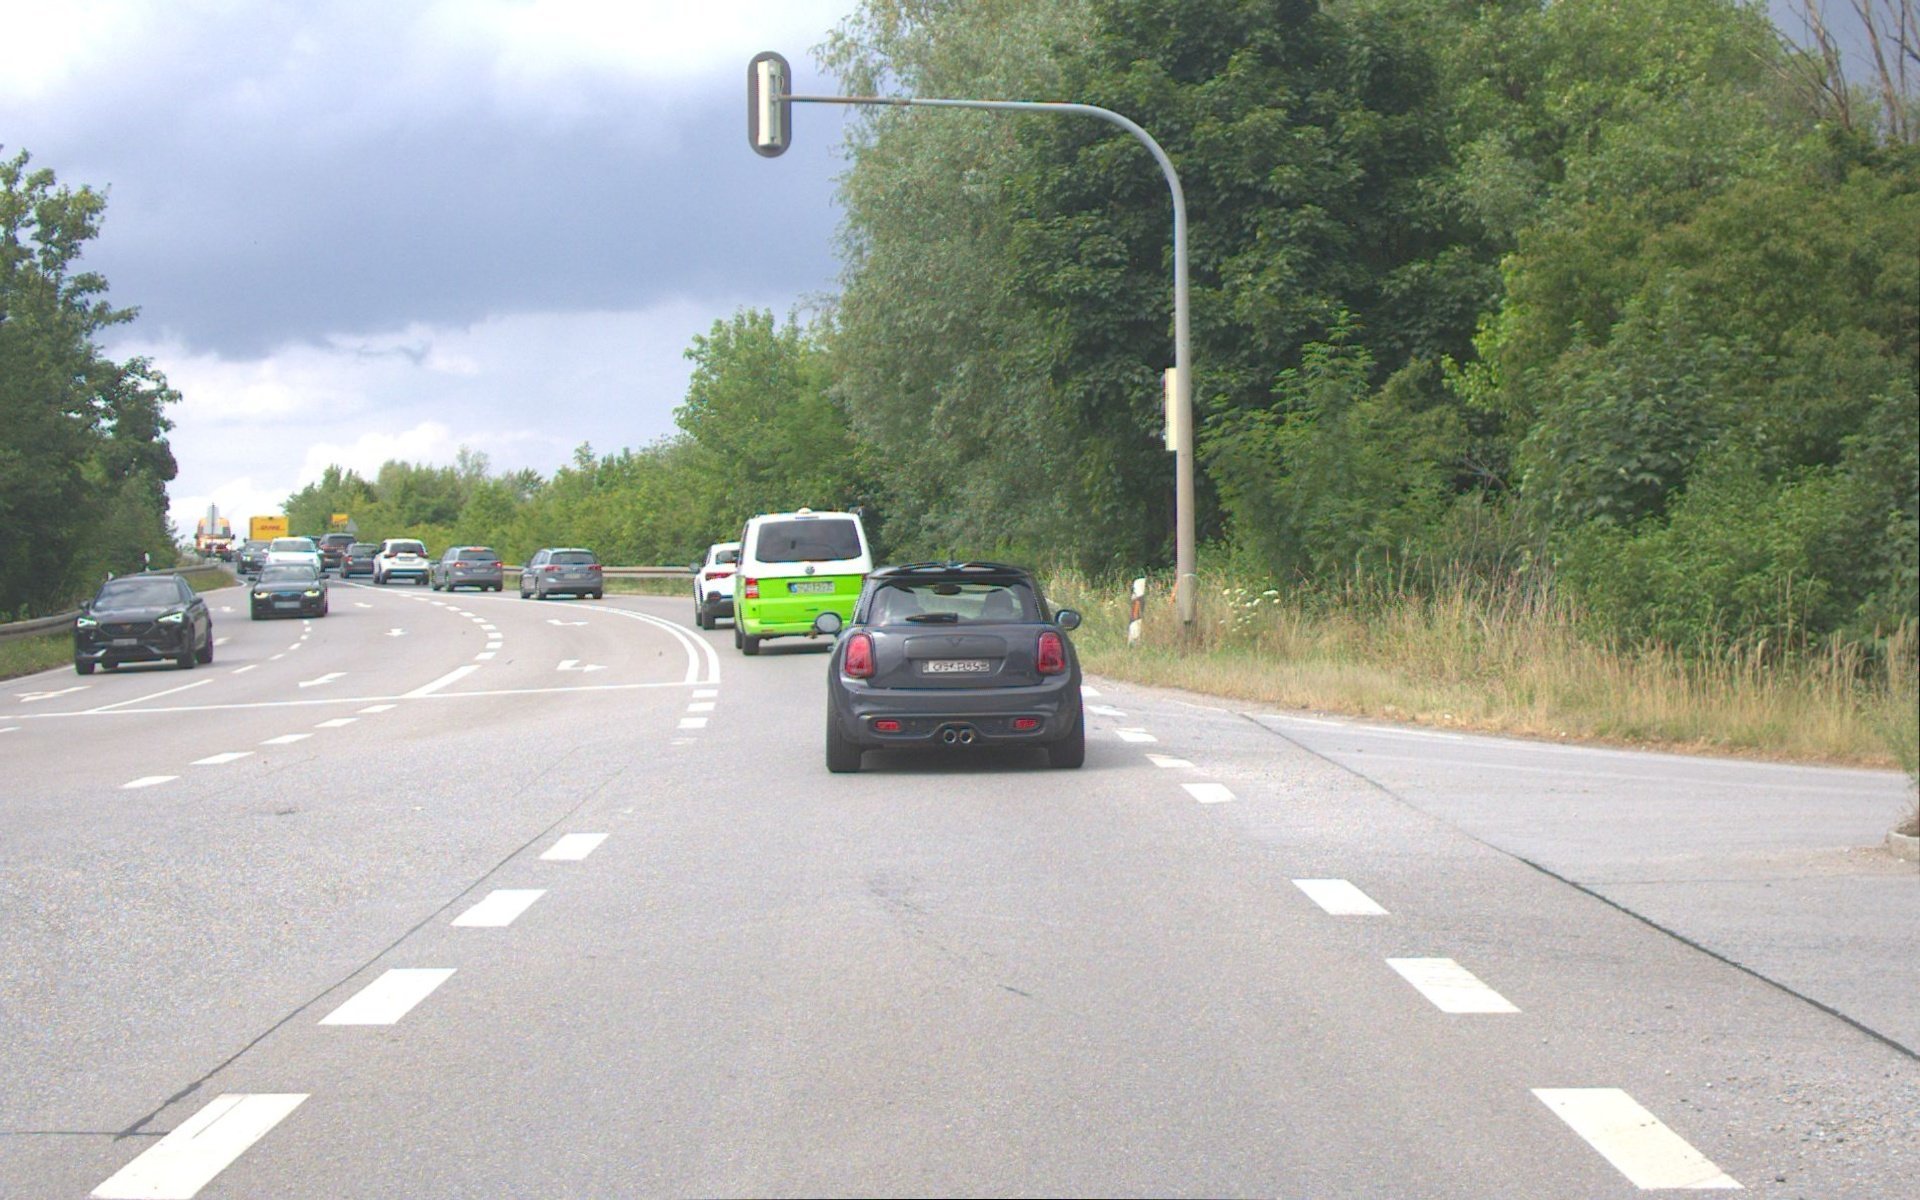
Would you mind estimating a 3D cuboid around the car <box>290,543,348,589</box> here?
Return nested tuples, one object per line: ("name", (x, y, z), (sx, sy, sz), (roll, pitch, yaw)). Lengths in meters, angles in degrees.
("car", (-23.046, -1.241, 123.672), (1.993, 1.607, 4.001), (-1, 1, -10))

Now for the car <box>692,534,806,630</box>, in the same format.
("car", (-3.902, -0.333, 63.367), (1.993, 1.678, 4.000), (-1, 0, -4))

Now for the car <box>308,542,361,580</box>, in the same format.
("car", (-29.184, -1.815, 160.356), (1.993, 1.690, 4.487), (0, 0, -16))

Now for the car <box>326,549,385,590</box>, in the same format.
("car", (-25.467, -1.260, 144.799), (1.993, 1.690, 4.487), (0, 0, -16))

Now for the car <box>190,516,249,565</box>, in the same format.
("car", (-26.587, -2.147, 123.341), (1.993, 1.684, 4.001), (-1, 1, -13))

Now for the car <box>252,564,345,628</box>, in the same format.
("car", (-16.720, -0.130, 87.025), (1.737, 1.401, 4.251), (-5, 1, -4))

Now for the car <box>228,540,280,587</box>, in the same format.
("car", (-31.062, -1.600, 151.140), (1.993, 2.007, 4.001), (1, 0, -15))

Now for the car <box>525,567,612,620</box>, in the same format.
("car", (-11.015, -0.179, 96.526), (1.993, 1.471, 4.487), (0, 0, -12))

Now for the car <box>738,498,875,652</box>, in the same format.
("car", (-2.167, -0.394, 48.461), (1.845, 1.980, 3.842), (0, 3, -3))

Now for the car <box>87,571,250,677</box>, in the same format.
("car", (-12.805, 0.360, 55.826), (1.762, 1.577, 4.203), (-3, 1, -2))

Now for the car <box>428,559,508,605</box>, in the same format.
("car", (-16.170, -0.569, 112.851), (1.993, 1.471, 4.487), (0, 0, -16))

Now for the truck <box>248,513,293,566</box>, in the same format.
("truck", (-43.095, -3.730, 214.905), (2.716, 2.888, 8.772), (1, -2, -11))

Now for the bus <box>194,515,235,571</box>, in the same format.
("bus", (-44.758, -3.418, 206.255), (1.993, 3.291, 7.431), (-1, 1, -15))

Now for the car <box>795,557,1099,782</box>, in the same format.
("car", (-0.173, 0.442, 24.273), (1.844, 1.423, 3.841), (-1, 0, -4))

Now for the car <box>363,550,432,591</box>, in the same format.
("car", (-20.845, -1.077, 127.288), (1.993, 1.471, 4.487), (0, 0, -16))
